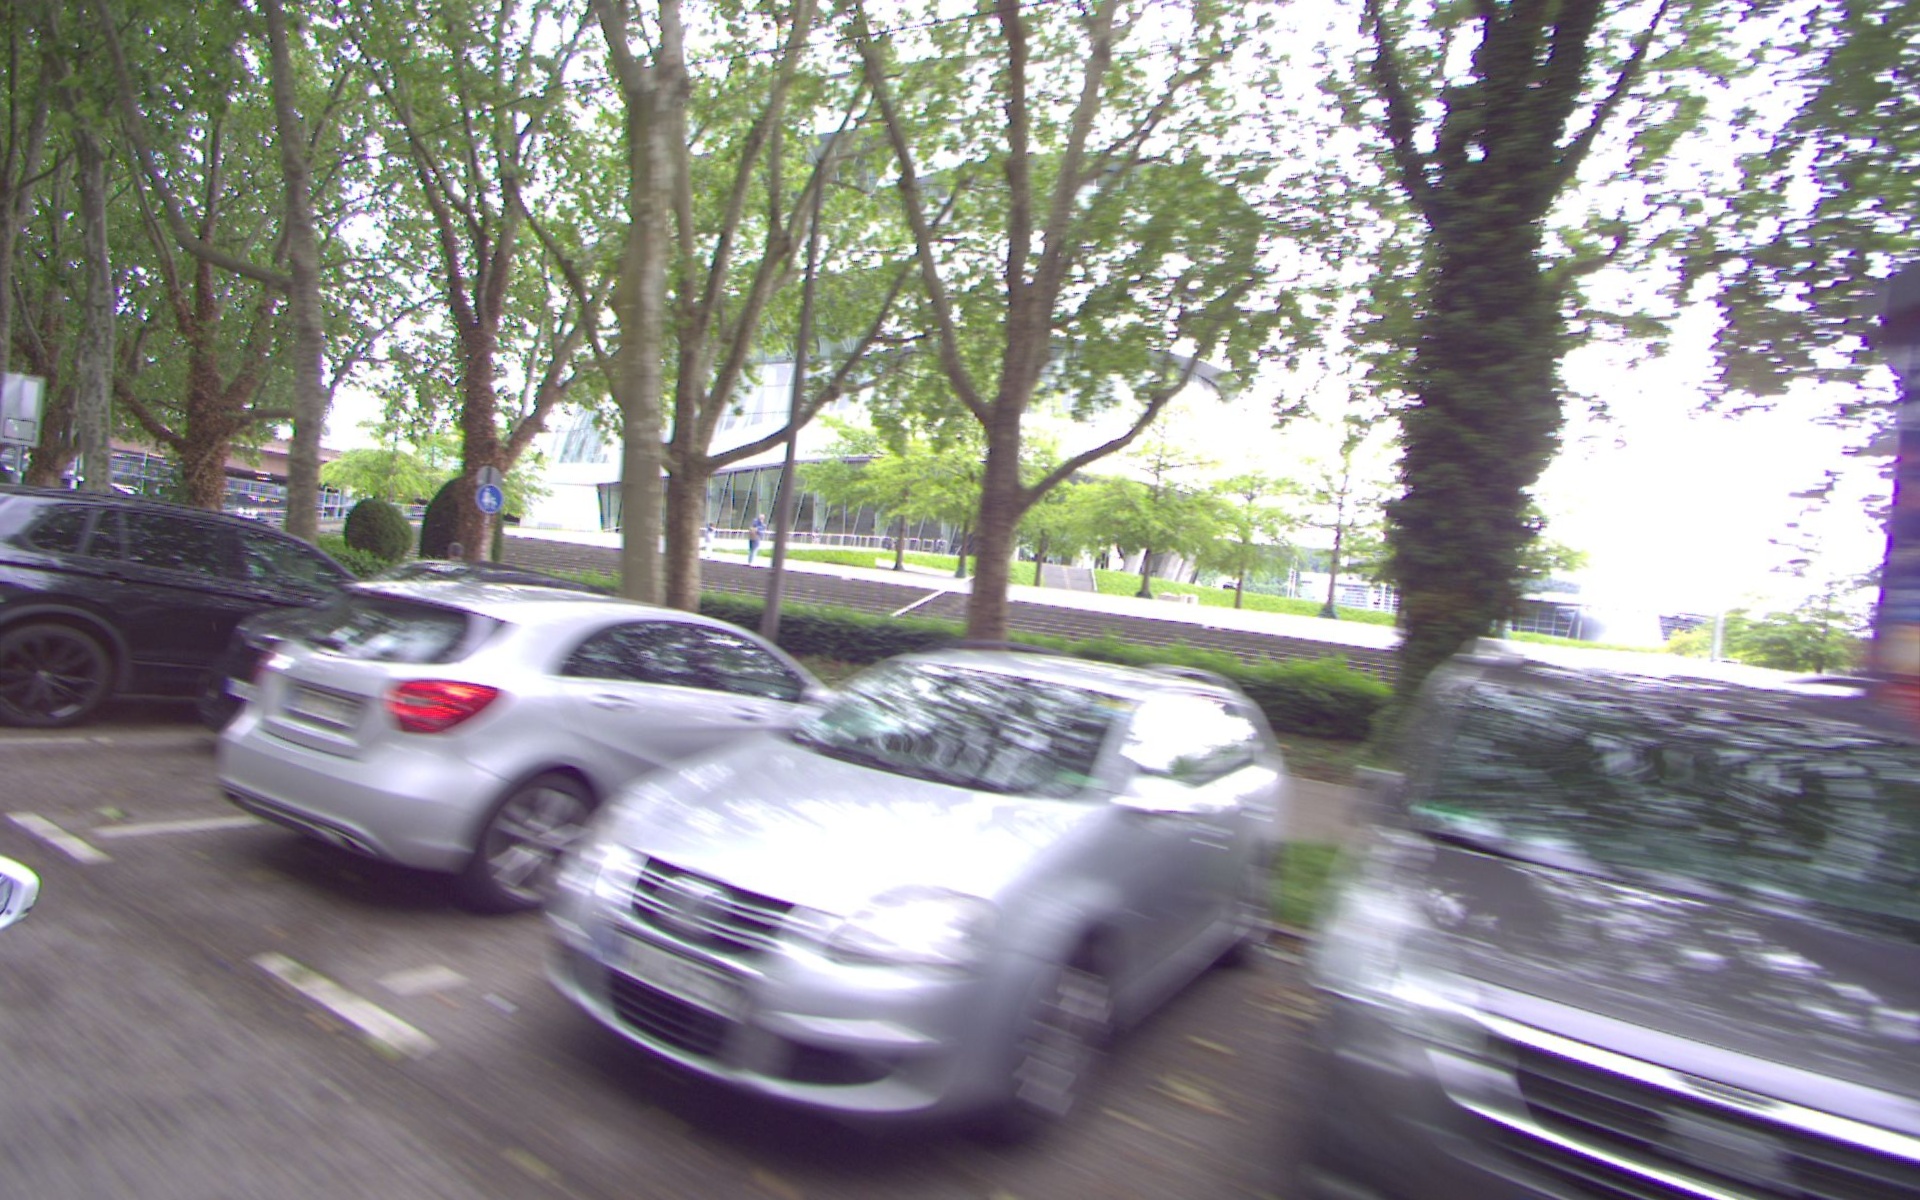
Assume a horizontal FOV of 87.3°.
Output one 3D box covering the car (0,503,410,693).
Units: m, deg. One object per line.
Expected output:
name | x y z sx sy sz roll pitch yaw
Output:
car | -8.132 -0.022 9.843 1.916 1.472 4.357 8 -2 30

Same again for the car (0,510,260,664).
car | -10.264 -0.226 11.041 1.746 1.418 3.741 7 -3 30

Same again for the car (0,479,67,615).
car | -16.305 -1.080 14.943 1.967 2.037 3.995 8 -2 32

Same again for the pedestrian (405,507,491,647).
pedestrian | -7.844 -0.328 15.445 0.587 2.037 0.788 7 -1 15

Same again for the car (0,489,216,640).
car | -12.259 -0.596 12.480 1.893 1.652 4.355 8 -2 32

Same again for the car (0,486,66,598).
car | -16.475 -1.187 14.898 1.893 1.652 4.355 8 -2 32

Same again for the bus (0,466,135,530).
bus | -80.932 -9.114 90.174 2.706 3.980 11.096 7 -2 14

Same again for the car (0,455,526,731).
car | -6.233 0.044 8.426 1.893 1.780 4.358 7 -2 30

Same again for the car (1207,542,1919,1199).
car | 2.441 1.069 3.650 1.805 1.765 4.357 8 -2 29

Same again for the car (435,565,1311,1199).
car | 0.183 0.917 4.569 1.698 1.474 4.157 7 -2 32

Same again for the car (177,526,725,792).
car | -3.751 0.425 7.972 1.652 1.511 3.438 7 0 30

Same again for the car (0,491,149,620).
car | -14.192 -0.833 13.738 1.893 1.623 4.355 8 -2 32

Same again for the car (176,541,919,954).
car | -1.940 0.715 5.831 1.636 1.443 3.650 8 -2 28
